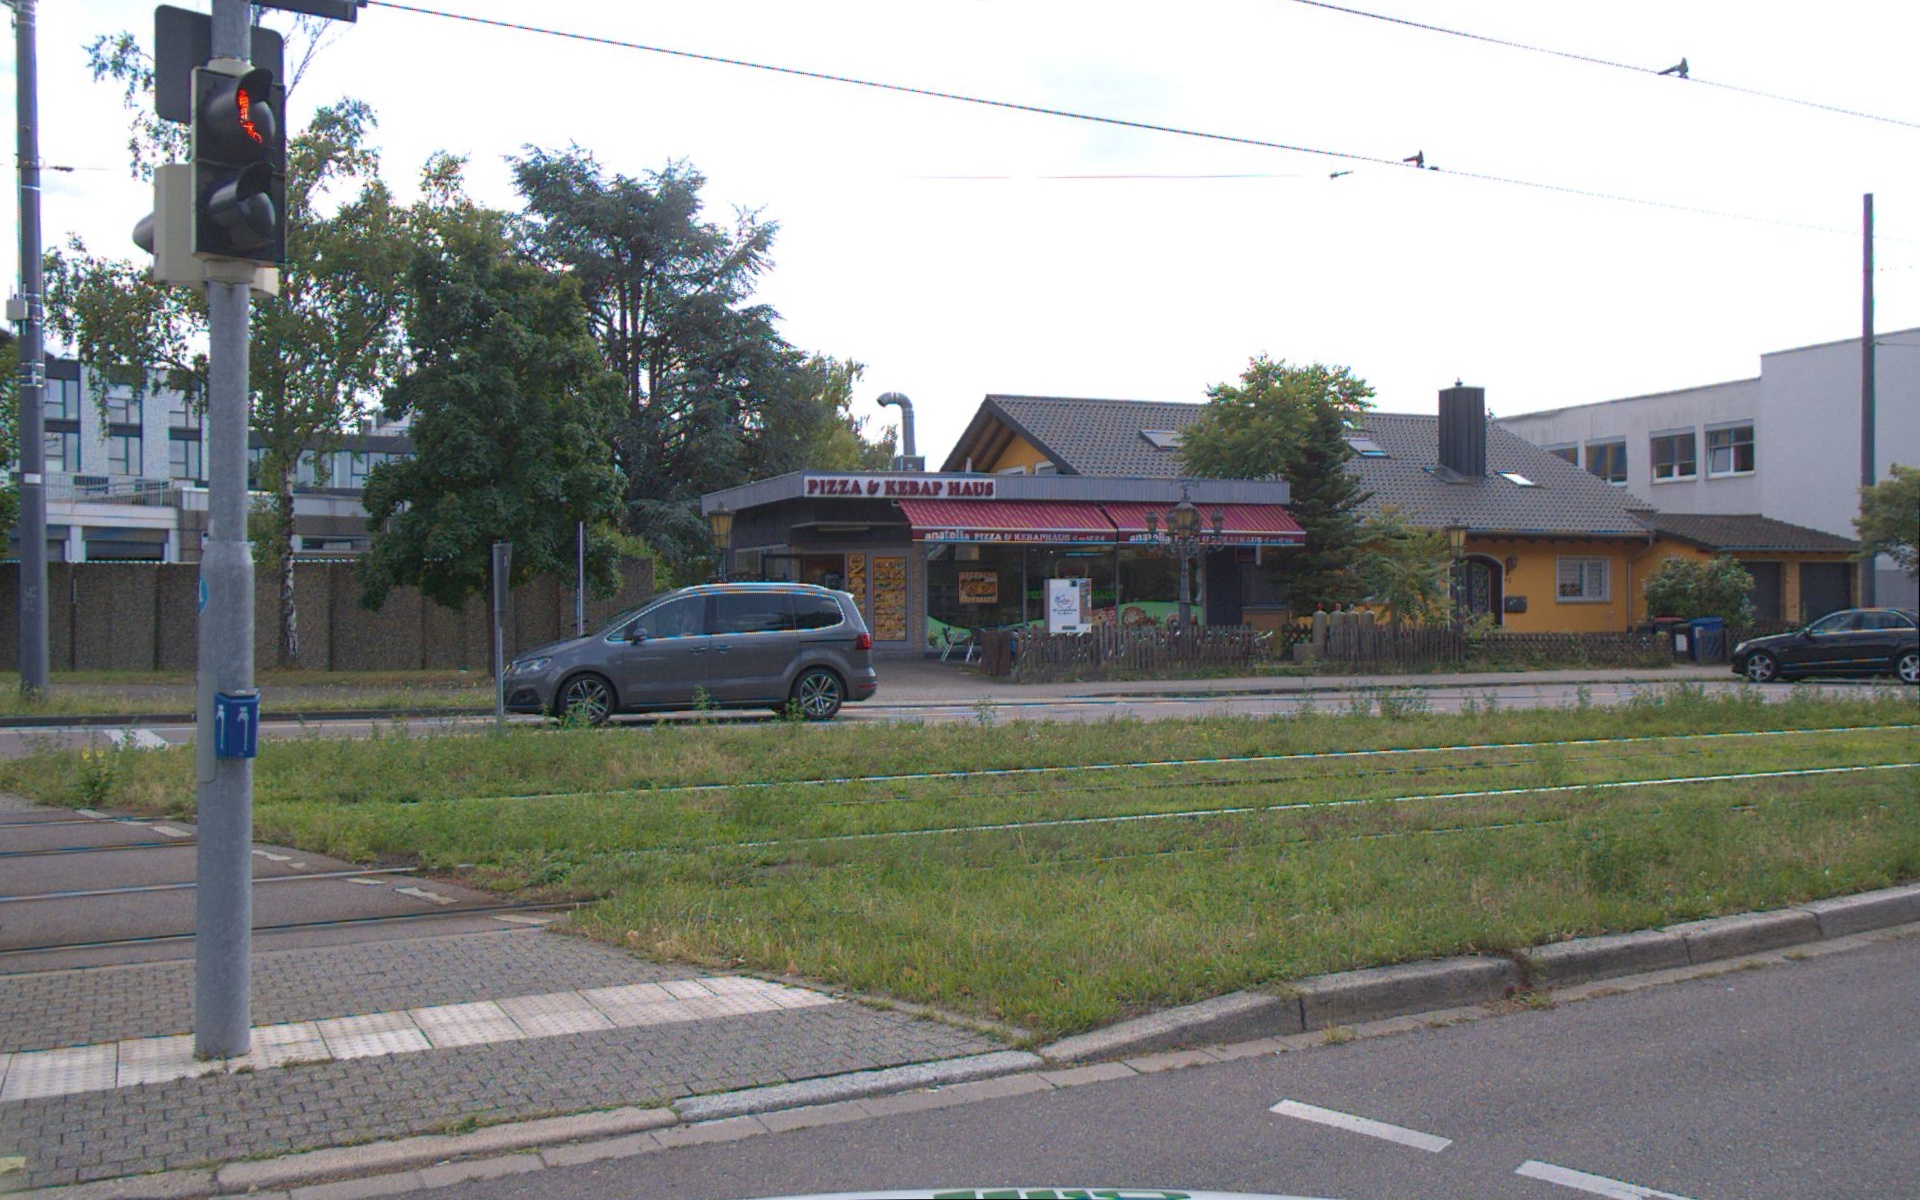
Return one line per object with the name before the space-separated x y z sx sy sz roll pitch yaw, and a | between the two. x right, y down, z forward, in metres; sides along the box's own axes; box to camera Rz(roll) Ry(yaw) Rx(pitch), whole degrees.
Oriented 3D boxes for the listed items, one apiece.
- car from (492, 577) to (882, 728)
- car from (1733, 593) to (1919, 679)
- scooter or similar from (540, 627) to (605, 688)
car | -3.501 0.610 21.088 4.654 1.752 1.989 0 0 -20
car | 17.967 0.697 32.647 1.983 1.608 4.510 0 -1 -42
scooter or similar | -6.961 1.031 29.723 1.080 1.078 0.401 1 1 -7
